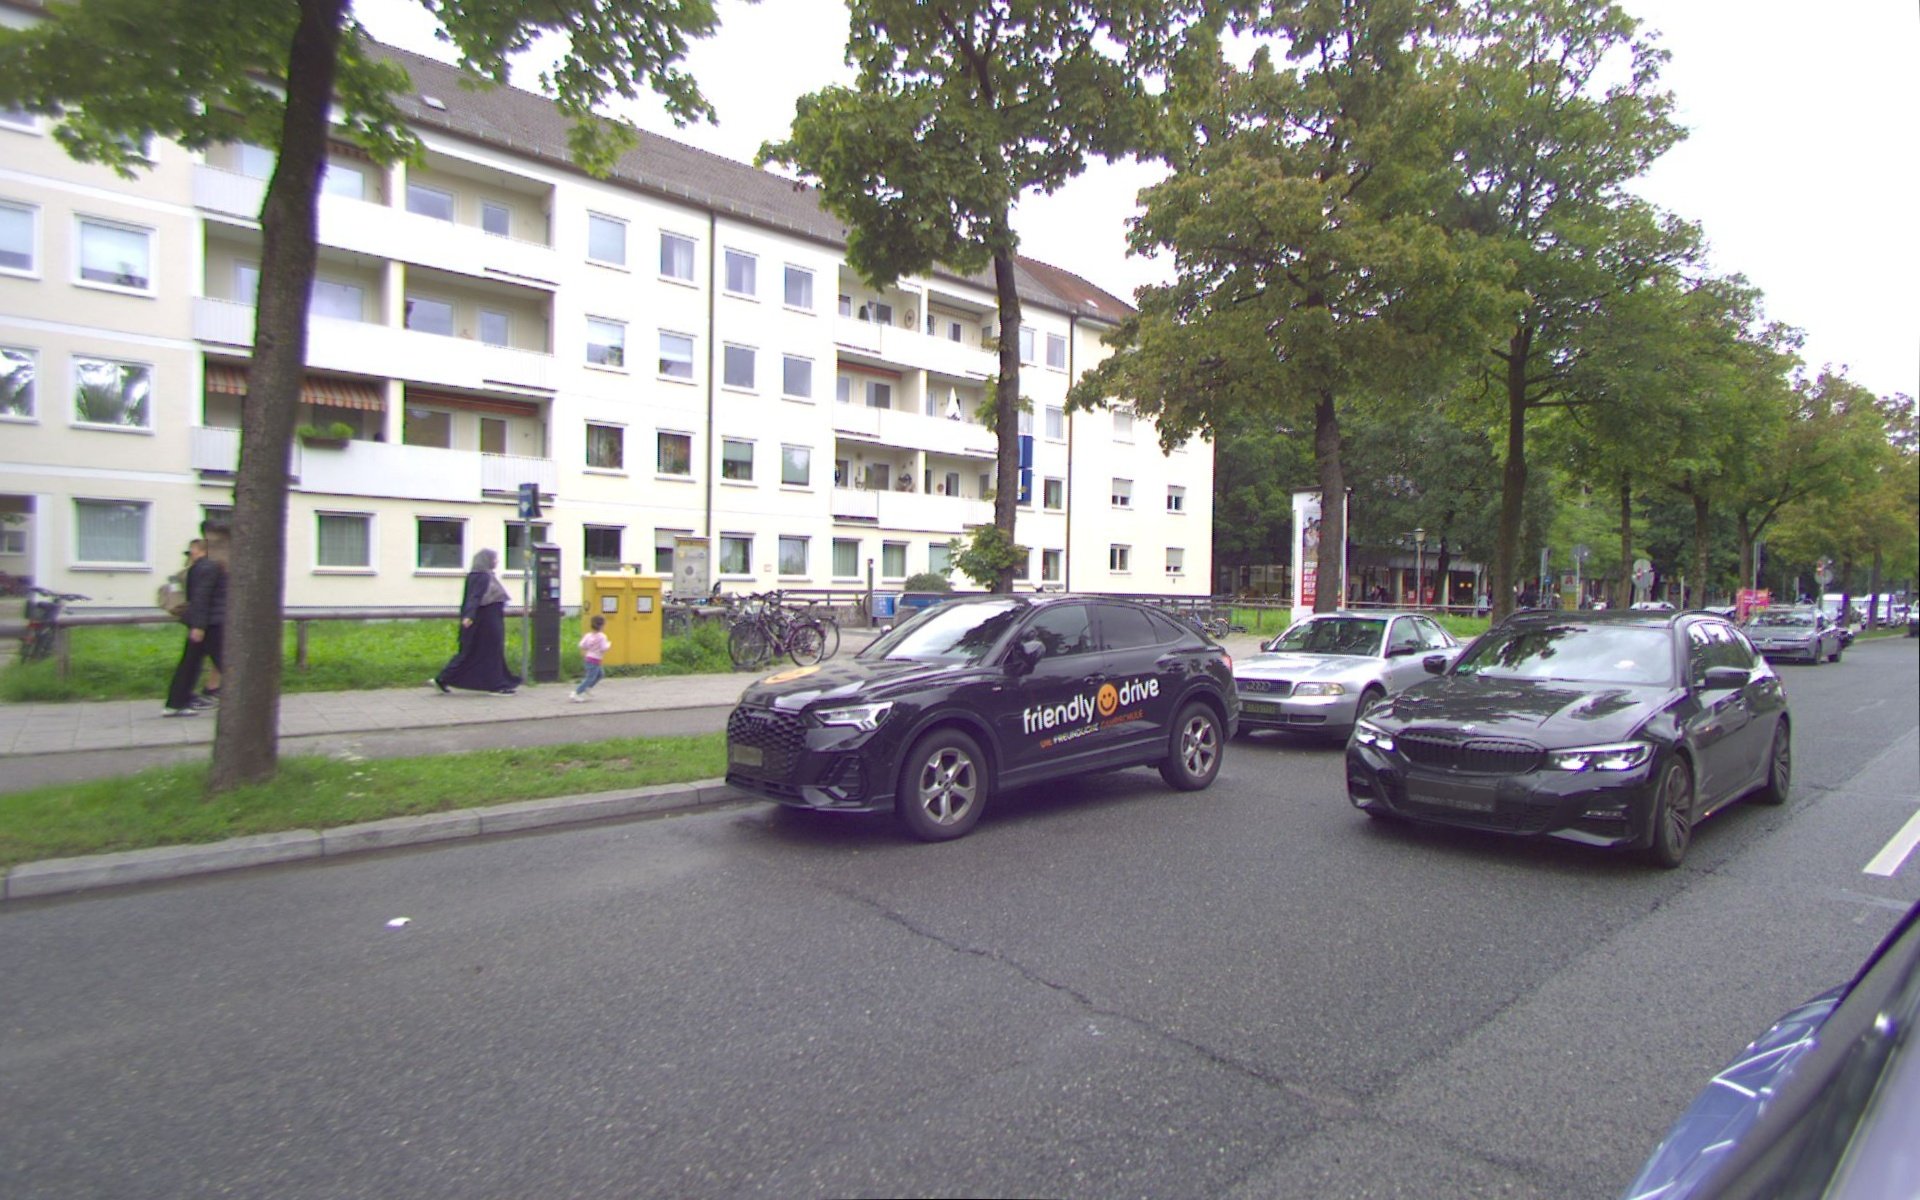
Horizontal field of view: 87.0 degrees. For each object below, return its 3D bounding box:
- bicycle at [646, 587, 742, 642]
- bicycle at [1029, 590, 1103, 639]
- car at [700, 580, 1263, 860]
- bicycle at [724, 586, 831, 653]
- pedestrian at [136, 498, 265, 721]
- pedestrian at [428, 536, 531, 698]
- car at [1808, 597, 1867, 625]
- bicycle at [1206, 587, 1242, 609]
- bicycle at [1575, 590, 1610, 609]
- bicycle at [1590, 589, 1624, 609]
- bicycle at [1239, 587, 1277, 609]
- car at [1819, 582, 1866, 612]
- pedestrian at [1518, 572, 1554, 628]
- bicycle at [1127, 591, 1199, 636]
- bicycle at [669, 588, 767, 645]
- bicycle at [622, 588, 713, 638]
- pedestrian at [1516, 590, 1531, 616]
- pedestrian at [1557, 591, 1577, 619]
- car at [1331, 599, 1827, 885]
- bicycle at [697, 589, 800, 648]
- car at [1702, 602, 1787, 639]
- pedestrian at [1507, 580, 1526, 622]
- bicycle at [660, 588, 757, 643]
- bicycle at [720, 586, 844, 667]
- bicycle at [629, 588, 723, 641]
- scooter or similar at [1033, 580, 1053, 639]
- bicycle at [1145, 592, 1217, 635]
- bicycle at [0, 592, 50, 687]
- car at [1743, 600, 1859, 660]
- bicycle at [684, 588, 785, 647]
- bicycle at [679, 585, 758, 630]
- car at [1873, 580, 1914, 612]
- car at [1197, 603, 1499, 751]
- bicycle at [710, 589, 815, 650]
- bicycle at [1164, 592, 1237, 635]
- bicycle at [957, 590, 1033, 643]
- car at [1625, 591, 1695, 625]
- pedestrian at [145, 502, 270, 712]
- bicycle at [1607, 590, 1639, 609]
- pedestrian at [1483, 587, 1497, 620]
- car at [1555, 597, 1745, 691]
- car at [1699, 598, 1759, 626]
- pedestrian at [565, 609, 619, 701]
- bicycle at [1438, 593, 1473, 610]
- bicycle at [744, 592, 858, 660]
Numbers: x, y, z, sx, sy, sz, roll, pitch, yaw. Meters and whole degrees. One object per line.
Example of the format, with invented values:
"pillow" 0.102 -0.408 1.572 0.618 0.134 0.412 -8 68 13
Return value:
"bicycle" -5.340 0.286 20.389 1.850 1.041 0.432 1 1 -40
"bicycle" 2.443 0.324 23.484 0.425 1.041 1.880 0 2 -43
"car" 0.363 0.675 7.650 4.200 1.552 1.719 0 -1 -41
"bicycle" -3.165 0.326 17.658 1.850 1.115 0.432 1 1 -40
"pedestrian" -6.903 0.071 9.206 0.886 1.913 0.589 0 1 -42
"pedestrian" -5.329 0.166 11.212 0.820 1.702 0.840 0 1 -42
"car" 45.938 0.553 52.953 4.609 1.450 1.730 0 0 -41
"bicycle" 12.699 -0.102 48.707 0.448 0.983 1.693 1 1 -44
"bicycle" 52.775 -0.058 84.460 0.638 1.551 2.312 1 1 -40
"bicycle" 54.696 -0.111 85.544 0.638 1.643 2.312 1 1 -40
"bicycle" 13.946 -0.085 47.429 0.448 0.983 1.693 1 1 -44
"car" 77.042 -0.262 88.272 5.754 2.560 2.267 0 1 -41
"pedestrian" 18.510 -0.001 32.511 0.833 1.771 0.641 1 2 -36
"bicycle" 5.161 0.328 25.827 0.425 1.041 1.880 0 2 -43
"bicycle" -4.681 0.314 19.661 1.850 1.041 0.432 1 1 -40
"bicycle" -6.276 0.276 21.759 1.850 1.041 0.432 1 1 -40
"pedestrian" 35.122 0.184 63.043 0.623 1.561 0.657 3 2 17
"pedestrian" 36.264 0.316 60.489 0.738 1.613 0.661 1 2 -22
"car" 4.582 0.725 7.190 4.384 1.431 1.761 0 -1 -41
"bicycle" -3.885 0.337 18.692 1.850 1.041 0.432 1 1 -40
"car" 31.277 0.768 40.311 4.273 1.397 1.725 0 0 -39
"pedestrian" 23.595 0.028 42.896 0.634 1.752 0.596 0 0 24
"bicycle" -4.961 0.303 20.063 1.850 1.041 0.432 1 1 -40
"bicycle" -2.646 0.392 15.190 1.850 1.147 0.432 1 1 -40
"bicycle" -5.845 0.302 20.905 1.850 1.041 0.432 1 1 -40
"scooter or similar" 1.803 0.184 21.825 0.352 1.215 1.388 1 1 7
"bicycle" 5.747 0.332 26.450 1.878 1.041 0.426 3 2 44
"bicycle" -10.556 0.405 11.328 0.425 0.986 1.882 0 0 -38
"car" 22.633 0.766 27.200 4.041 1.484 1.685 0 -1 -40
"bicycle" -4.217 0.320 19.046 1.850 1.041 0.432 1 1 -40
"bicycle" -5.860 0.174 24.577 1.850 1.041 0.432 1 1 -40
"car" 80.618 -0.306 87.370 5.901 2.691 1.976 0 -1 -41
"car" 4.595 0.747 11.660 4.173 1.403 1.637 0 -1 -44
"bicycle" -3.543 0.343 18.260 1.850 1.041 0.432 1 1 -40
"bicycle" 6.310 0.348 26.632 1.877 1.041 0.426 3 2 42
"bicycle" 0.733 0.337 21.834 0.425 1.041 1.880 0 2 -43
"car" 36.345 0.400 52.520 4.121 1.654 1.827 0 2 -39
"pedestrian" -7.277 0.049 9.787 0.903 1.913 0.730 0 1 -42
"bicycle" 58.161 -0.026 88.743 2.298 1.643 0.641 1 1 34
"pedestrian" 26.052 0.152 49.747 0.574 1.594 0.775 0 0 23
"car" 12.404 0.711 18.109 4.101 1.484 1.754 0 -1 -40
"car" 46.367 0.687 61.009 4.519 1.550 1.826 0 2 -39
"pedestrian" -4.020 0.587 11.057 0.427 0.961 0.408 0 1 -42
"bicycle" 33.258 0.088 67.986 0.447 1.134 2.079 1 1 -40
"bicycle" -2.576 0.412 16.542 1.850 1.041 0.432 1 1 -40
